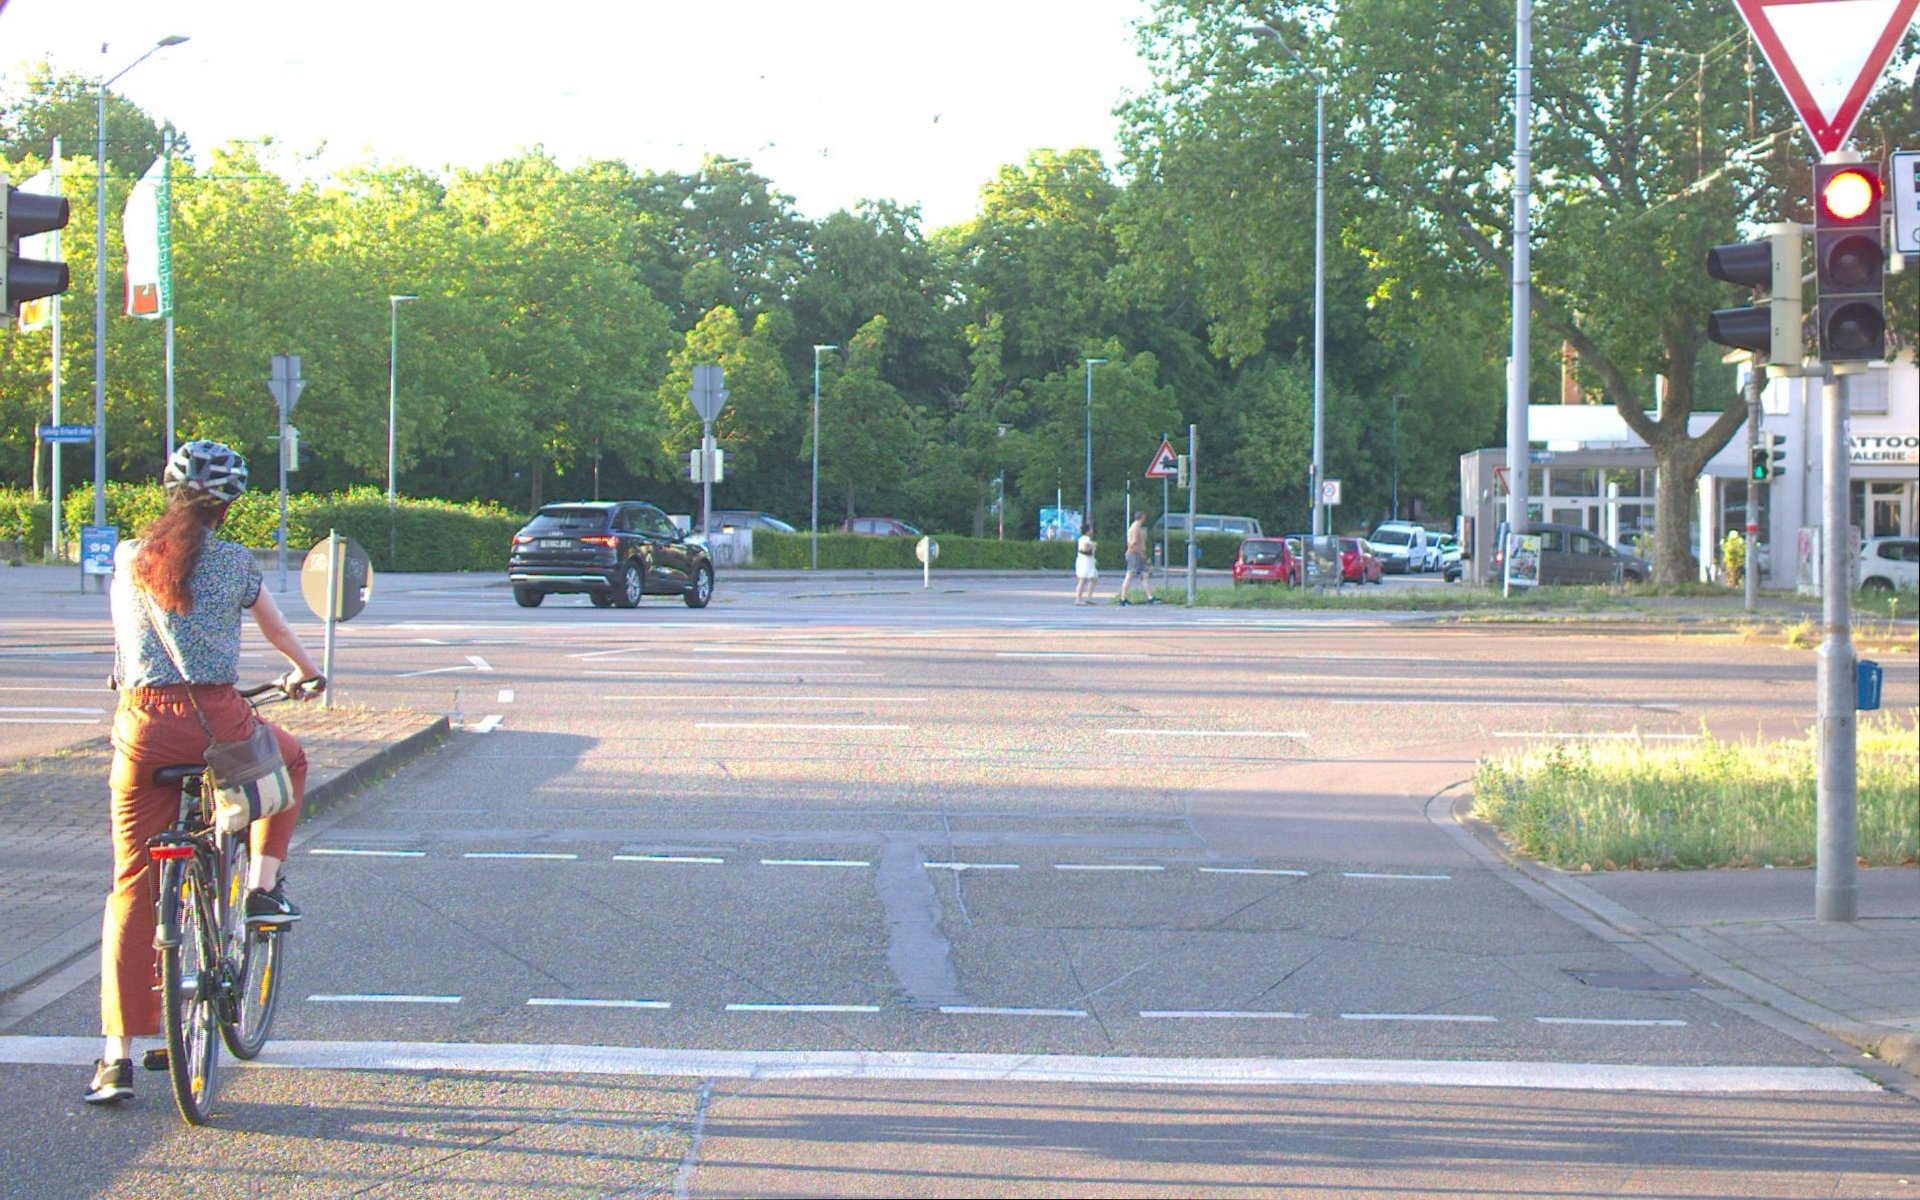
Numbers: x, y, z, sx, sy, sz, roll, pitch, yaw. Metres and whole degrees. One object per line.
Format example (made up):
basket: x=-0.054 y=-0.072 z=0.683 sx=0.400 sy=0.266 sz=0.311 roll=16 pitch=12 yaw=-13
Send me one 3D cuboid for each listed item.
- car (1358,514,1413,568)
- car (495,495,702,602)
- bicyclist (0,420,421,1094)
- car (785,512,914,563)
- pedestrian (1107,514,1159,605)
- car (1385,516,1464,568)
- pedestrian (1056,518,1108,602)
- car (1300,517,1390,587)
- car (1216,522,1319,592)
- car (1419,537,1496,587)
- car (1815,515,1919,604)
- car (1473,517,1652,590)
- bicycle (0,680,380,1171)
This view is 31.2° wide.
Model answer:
car: x=16.219 y=-2.276 z=131.170 sx=1.994 sy=2.007 sz=3.999 roll=1 pitch=1 yaw=7
car: x=-5.392 y=-0.754 z=51.814 sx=1.756 sy=1.535 sz=4.398 roll=1 pitch=0 yaw=13
bicyclist: x=-2.048 y=0.390 z=9.263 sx=1.031 sy=1.712 sz=0.996 roll=1 pitch=1 yaw=-1
car: x=-3.503 y=-1.994 z=109.505 sx=3.987 sy=1.555 sz=2.000 roll=1 pitch=1 yaw=1
pedestrian: x=3.372 y=-0.799 z=67.088 sx=0.719 sy=1.748 sz=0.896 roll=1 pitch=1 yaw=24
car: x=18.374 y=-2.293 z=135.816 sx=1.996 sy=2.007 sz=3.995 roll=1 pitch=2 yaw=24
pedestrian: x=2.412 y=-0.794 z=67.906 sx=0.719 sy=1.633 sz=0.896 roll=1 pitch=1 yaw=24
car: x=11.593 y=-1.467 z=103.311 sx=1.916 sy=2.040 sz=3.997 roll=1 pitch=2 yaw=17
car: x=8.581 y=-1.221 z=95.698 sx=1.870 sy=1.868 sz=3.870 roll=1 pitch=2 yaw=21
car: x=16.728 y=-1.301 z=115.396 sx=1.916 sy=1.597 sz=3.997 roll=1 pitch=2 yaw=17
car: x=20.388 y=-0.850 z=72.474 sx=4.230 sy=1.840 sz=2.000 roll=1 pitch=1 yaw=2
car: x=15.571 y=-1.207 z=88.961 sx=4.378 sy=1.828 sz=1.949 roll=1 pitch=1 yaw=5
bicycle: x=-2.049 y=0.801 z=9.256 sx=0.634 sy=1.064 sz=2.122 roll=1 pitch=1 yaw=-1
